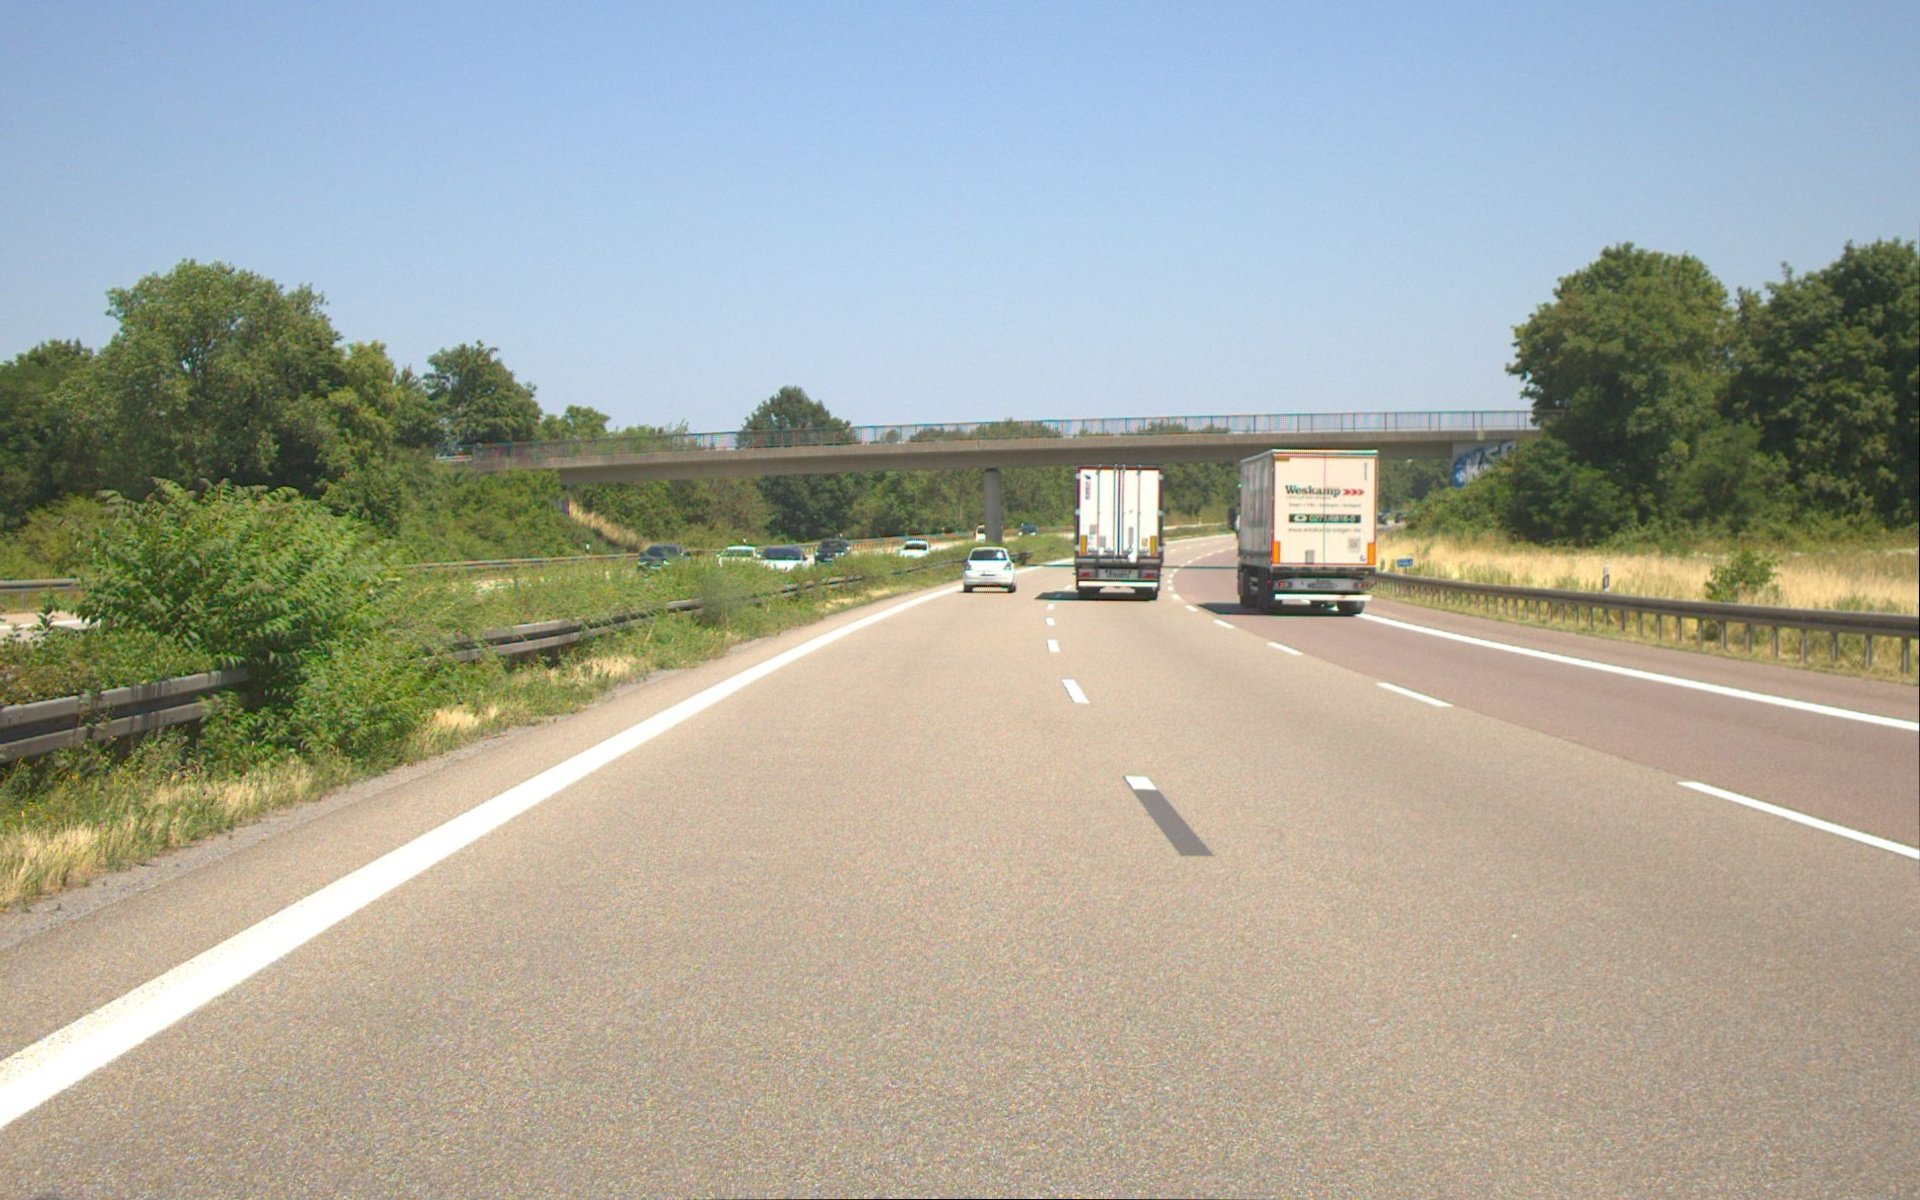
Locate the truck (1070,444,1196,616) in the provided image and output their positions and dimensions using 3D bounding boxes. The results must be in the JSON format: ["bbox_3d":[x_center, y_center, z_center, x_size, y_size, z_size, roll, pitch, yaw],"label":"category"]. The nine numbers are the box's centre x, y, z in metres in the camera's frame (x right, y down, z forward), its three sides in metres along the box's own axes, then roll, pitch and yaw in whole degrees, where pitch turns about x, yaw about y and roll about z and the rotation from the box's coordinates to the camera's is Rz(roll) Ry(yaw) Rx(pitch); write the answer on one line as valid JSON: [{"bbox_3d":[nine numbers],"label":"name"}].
[{"bbox_3d":[5.353,-2.282,108.803,3.666,5.001,16.017,0,2,2],"label":"truck"}]

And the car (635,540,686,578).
[{"bbox_3d":[-13.264,-1.818,152.634,1.782,1.655,4.658,0,1,1],"label":"car"}]

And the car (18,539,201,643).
[{"bbox_3d":[-14.316,-0.160,58.098,1.993,1.683,4.503,0,0,0],"label":"car"}]

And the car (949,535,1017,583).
[{"bbox_3d":[0.810,-1.389,115.698,1.828,1.542,4.318,1,1,6],"label":"car"}]

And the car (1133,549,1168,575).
[{"bbox_3d":[11.682,-2.346,210.574,1.828,1.542,4.318,1,1,6],"label":"car"}]

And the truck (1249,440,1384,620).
[{"bbox_3d":[9.295,-1.898,90.510,3.182,4.289,16.015,1,2,5],"label":"truck"}]

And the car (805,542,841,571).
[{"bbox_3d":[-7.590,-2.400,190.544,1.645,1.555,4.066,0,0,3],"label":"car"}]
